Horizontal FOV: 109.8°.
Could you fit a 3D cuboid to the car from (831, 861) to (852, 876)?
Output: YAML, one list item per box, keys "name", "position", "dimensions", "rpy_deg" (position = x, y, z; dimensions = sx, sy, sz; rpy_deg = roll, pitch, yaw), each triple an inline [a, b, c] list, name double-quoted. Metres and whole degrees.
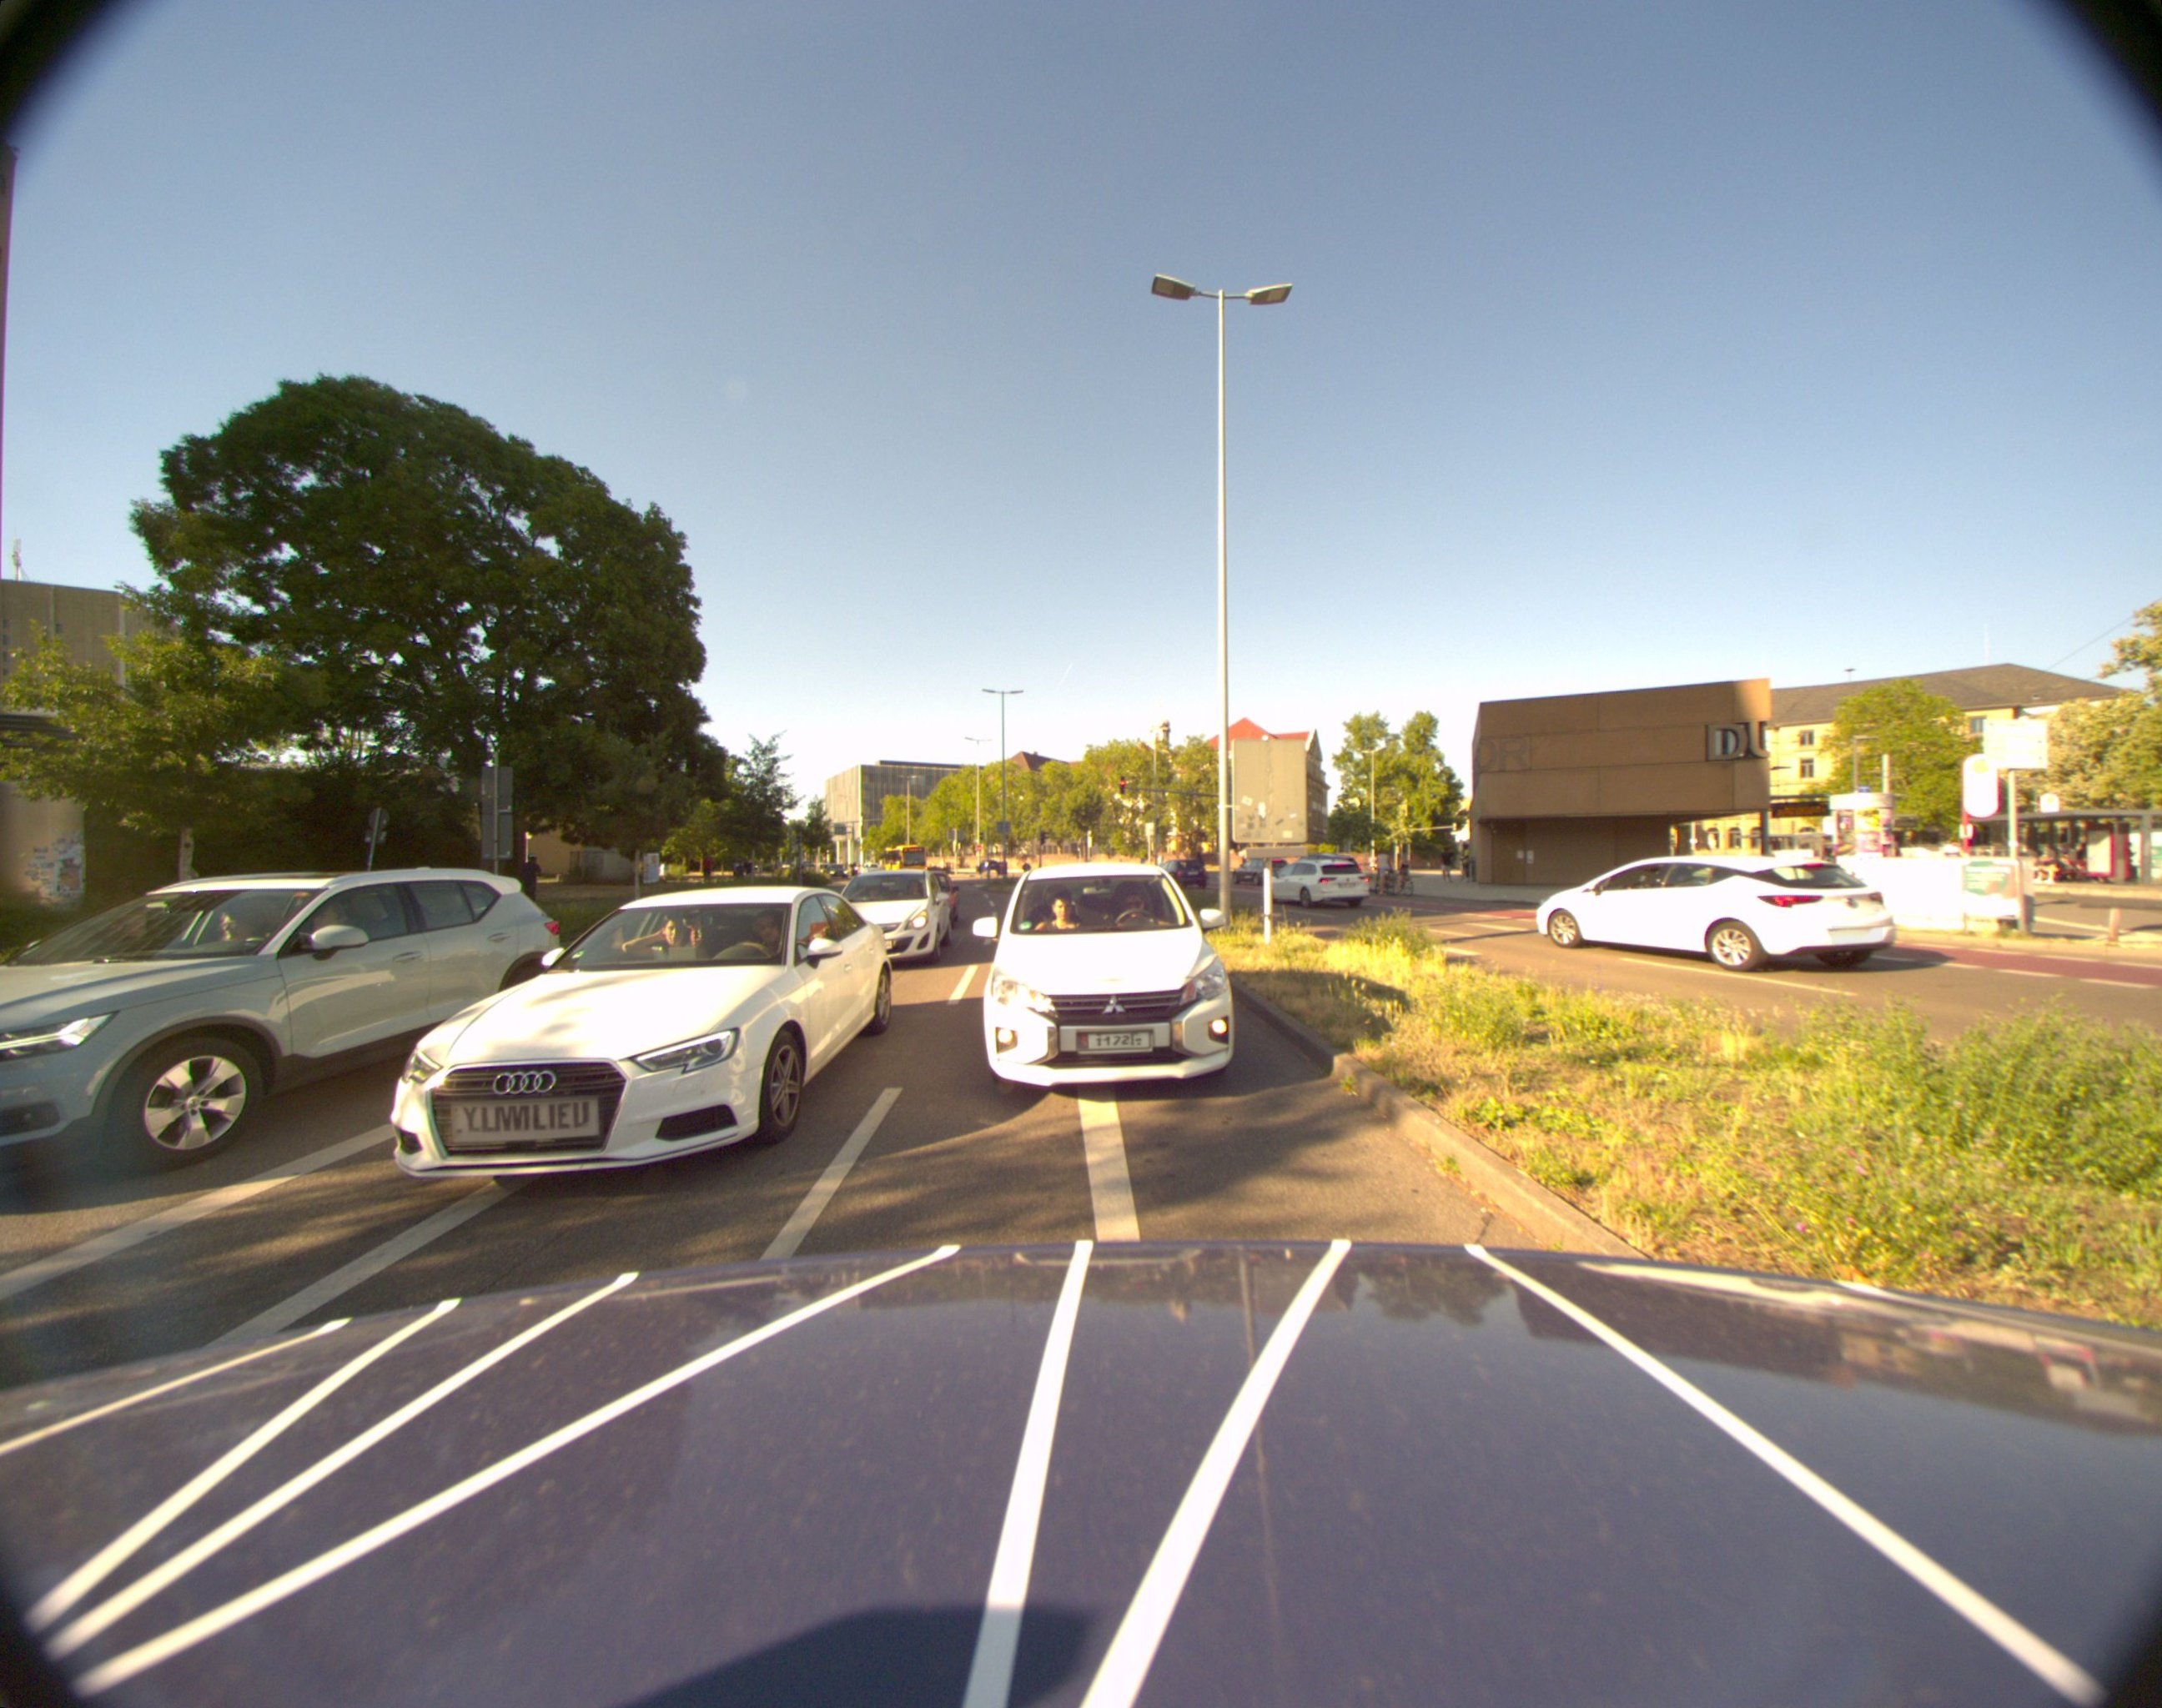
- name: "car"
  position: [-24.390, 1.444, 77.417]
  dimensions: [1.758, 1.451, 4.181]
  rpy_deg: [-3, 1, -21]

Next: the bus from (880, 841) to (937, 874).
- name: "bus"
  position: [-18.752, 0.357, 81.737]
  dimensions: [3.091, 3.193, 12.518]
  rpy_deg: [-3, 1, -26]

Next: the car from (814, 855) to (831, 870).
- name: "car"
  position: [-30.759, 0.975, 90.442]
  dimensions: [1.748, 1.696, 3.993]
  rpy_deg: [-1, 0, -21]

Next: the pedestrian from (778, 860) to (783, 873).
- name: "pedestrian"
  position: [-39.395, 1.666, 99.593]
  dimensions: [0.399, 1.676, 0.483]
  rpy_deg: [-1, 1, 1]

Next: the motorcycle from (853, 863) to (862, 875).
- name: "motorcycle"
  position: [-25.319, 1.739, 86.114]
  dimensions: [0.719, 1.297, 2.230]
  rpy_deg: [-3, 1, -23]

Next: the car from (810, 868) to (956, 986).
- name: "car"
  position: [-3.079, 1.049, 12.590]
  dimensions: [1.628, 1.451, 4.039]
  rpy_deg: [-2, 1, -5]

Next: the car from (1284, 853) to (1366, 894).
- name: "car"
  position: [10.698, 0.796, 33.639]
  dimensions: [1.756, 1.680, 4.185]
  rpy_deg: [-1, 0, -8]

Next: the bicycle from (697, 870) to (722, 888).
- name: "bicycle"
  position: [-21.554, 1.451, 44.128]
  dimensions: [0.660, 0.958, 2.033]
  rpy_deg: [0, 1, -7]

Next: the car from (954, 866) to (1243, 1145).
- name: "car"
  position: [0.053, 0.913, 6.444]
  dimensions: [1.628, 1.451, 4.040]
  rpy_deg: [-2, 1, -2]

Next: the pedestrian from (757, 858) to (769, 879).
- name: "pedestrian"
  position: [-31.097, 1.382, 74.343]
  dimensions: [0.852, 2.002, 0.833]
  rpy_deg: [-3, 1, -15]

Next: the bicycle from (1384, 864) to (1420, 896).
- name: "bicycle"
  position: [12.454, 0.981, 29.542]
  dimensions: [0.464, 1.185, 1.395]
  rpy_deg: [-3, 1, -17]

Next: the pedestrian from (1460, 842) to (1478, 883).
- name: "pedestrian"
  position: [18.947, 0.414, 37.104]
  dimensions: [0.655, 2.002, 0.469]
  rpy_deg: [-2, 1, 20]

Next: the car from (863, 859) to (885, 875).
- name: "car"
  position: [-21.303, 1.312, 78.164]
  dimensions: [1.758, 1.451, 4.181]
  rpy_deg: [-3, 1, -21]

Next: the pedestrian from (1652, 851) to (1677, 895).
- name: "pedestrian"
  position: [27.859, 0.901, 36.276]
  dimensions: [0.780, 2.002, 0.771]
  rpy_deg: [-3, 2, -42]

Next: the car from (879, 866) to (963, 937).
- name: "car"
  position: [-3.902, 1.097, 19.107]
  dimensions: [1.628, 1.451, 4.039]
  rpy_deg: [-2, 1, -7]

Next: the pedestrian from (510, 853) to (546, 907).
- name: "pedestrian"
  position: [-16.738, 0.773, 23.013]
  dimensions: [0.596, 1.585, 0.594]
  rpy_deg: [-2, 1, -8]

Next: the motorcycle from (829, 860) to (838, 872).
- name: "motorcycle"
  position: [-28.082, 1.387, 86.266]
  dimensions: [0.719, 1.297, 2.230]
  rpy_deg: [-3, 1, -24]

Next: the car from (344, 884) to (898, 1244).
- name: "car"
  position: [-2.557, 1.036, 5.401]
  dimensions: [1.628, 1.396, 3.832]
  rpy_deg: [-2, 1, -2]

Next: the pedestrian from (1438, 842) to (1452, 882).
- name: "pedestrian"
  position: [18.360, 0.381, 38.337]
  dimensions: [0.467, 2.002, 0.657]
  rpy_deg: [-2, 1, 17]

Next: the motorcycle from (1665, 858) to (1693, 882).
- name: "motorcycle"
  position: [26.173, 0.706, 33.259]
  dimensions: [0.948, 1.061, 0.331]
  rpy_deg: [-1, 1, 39]

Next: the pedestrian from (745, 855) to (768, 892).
- name: "pedestrian"
  position: [-18.117, 1.093, 42.460]
  dimensions: [0.895, 2.002, 0.881]
  rpy_deg: [-2, 1, -10]

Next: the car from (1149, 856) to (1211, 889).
- name: "car"
  position: [4.792, 0.871, 37.332]
  dimensions: [1.757, 1.451, 4.184]
  rpy_deg: [-2, 1, -11]

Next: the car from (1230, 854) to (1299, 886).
- name: "car"
  position: [9.334, 0.787, 39.047]
  dimensions: [1.850, 1.483, 4.388]
  rpy_deg: [1, 0, -10]

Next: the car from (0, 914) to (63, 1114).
- name: "car"
  position: [-8.762, 1.241, 3.893]
  dimensions: [1.628, 1.451, 4.040]
  rpy_deg: [-2, 1, -2]

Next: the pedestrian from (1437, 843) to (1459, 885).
- name: "pedestrian"
  position: [18.025, 0.498, 37.375]
  dimensions: [0.777, 2.002, 0.773]
  rpy_deg: [-2, 1, 13]

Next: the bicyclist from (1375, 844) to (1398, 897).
- name: "bicyclist"
  position: [11.781, 0.638, 29.332]
  dimensions: [0.611, 2.002, 0.565]
  rpy_deg: [-1, 1, -15]

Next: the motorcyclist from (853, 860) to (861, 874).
- name: "motorcyclist"
  position: [-25.346, 1.459, 85.986]
  dimensions: [0.712, 1.581, 0.689]
  rpy_deg: [-3, 1, -23]

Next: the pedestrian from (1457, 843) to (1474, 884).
- name: "pedestrian"
  position: [19.095, 0.453, 37.727]
  dimensions: [0.655, 2.002, 0.469]
  rpy_deg: [-2, 1, 20]

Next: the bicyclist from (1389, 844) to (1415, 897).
- name: "bicyclist"
  position: [12.450, 0.638, 29.487]
  dimensions: [0.611, 2.002, 0.708]
  rpy_deg: [-1, 1, -15]

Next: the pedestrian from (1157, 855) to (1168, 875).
- name: "pedestrian"
  position: [7.699, 0.996, 72.119]
  dimensions: [0.797, 1.886, 0.612]
  rpy_deg: [0, 1, 40]

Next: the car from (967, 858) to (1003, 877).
- name: "car"
  position: [-10.854, 1.529, 86.016]
  dimensions: [2.004, 2.002, 3.989]
  rpy_deg: [-3, 1, -43]

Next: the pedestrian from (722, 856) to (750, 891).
- name: "pedestrian"
  position: [-20.517, 1.155, 45.171]
  dimensions: [1.143, 2.002, 1.285]
  rpy_deg: [-2, 1, -10]

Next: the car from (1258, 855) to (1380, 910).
- name: "car"
  position: [7.390, 0.822, 24.114]
  dimensions: [1.850, 1.483, 4.388]
  rpy_deg: [-2, 1, -10]

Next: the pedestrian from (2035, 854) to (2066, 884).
- name: "pedestrian"
  position: [38.958, 0.611, 30.536]
  dimensions: [0.539, 1.180, 0.659]
  rpy_deg: [-2, 1, 29]

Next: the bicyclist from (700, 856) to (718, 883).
- name: "bicyclist"
  position: [-21.546, 0.892, 43.985]
  dimensions: [0.617, 1.551, 0.870]
  rpy_deg: [-2, 1, -8]

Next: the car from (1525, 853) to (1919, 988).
- name: "car"
  position: [8.663, 0.760, 10.859]
  dimensions: [1.756, 1.451, 4.185]
  rpy_deg: [-2, 1, -8]

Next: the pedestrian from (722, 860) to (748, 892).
- name: "pedestrian"
  position: [-18.763, 1.188, 41.246]
  dimensions: [1.010, 1.711, 0.884]
  rpy_deg: [-2, 1, -10]

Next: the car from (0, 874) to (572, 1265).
- name: "car"
  position: [-5.754, 1.053, 5.268]
  dimensions: [1.628, 1.611, 4.223]
  rpy_deg: [-2, 1, -2]

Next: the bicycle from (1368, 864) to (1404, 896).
- name: "bicycle"
  position: [11.811, 1.007, 29.461]
  dimensions: [0.464, 1.185, 1.395]
  rpy_deg: [-3, 1, -17]
